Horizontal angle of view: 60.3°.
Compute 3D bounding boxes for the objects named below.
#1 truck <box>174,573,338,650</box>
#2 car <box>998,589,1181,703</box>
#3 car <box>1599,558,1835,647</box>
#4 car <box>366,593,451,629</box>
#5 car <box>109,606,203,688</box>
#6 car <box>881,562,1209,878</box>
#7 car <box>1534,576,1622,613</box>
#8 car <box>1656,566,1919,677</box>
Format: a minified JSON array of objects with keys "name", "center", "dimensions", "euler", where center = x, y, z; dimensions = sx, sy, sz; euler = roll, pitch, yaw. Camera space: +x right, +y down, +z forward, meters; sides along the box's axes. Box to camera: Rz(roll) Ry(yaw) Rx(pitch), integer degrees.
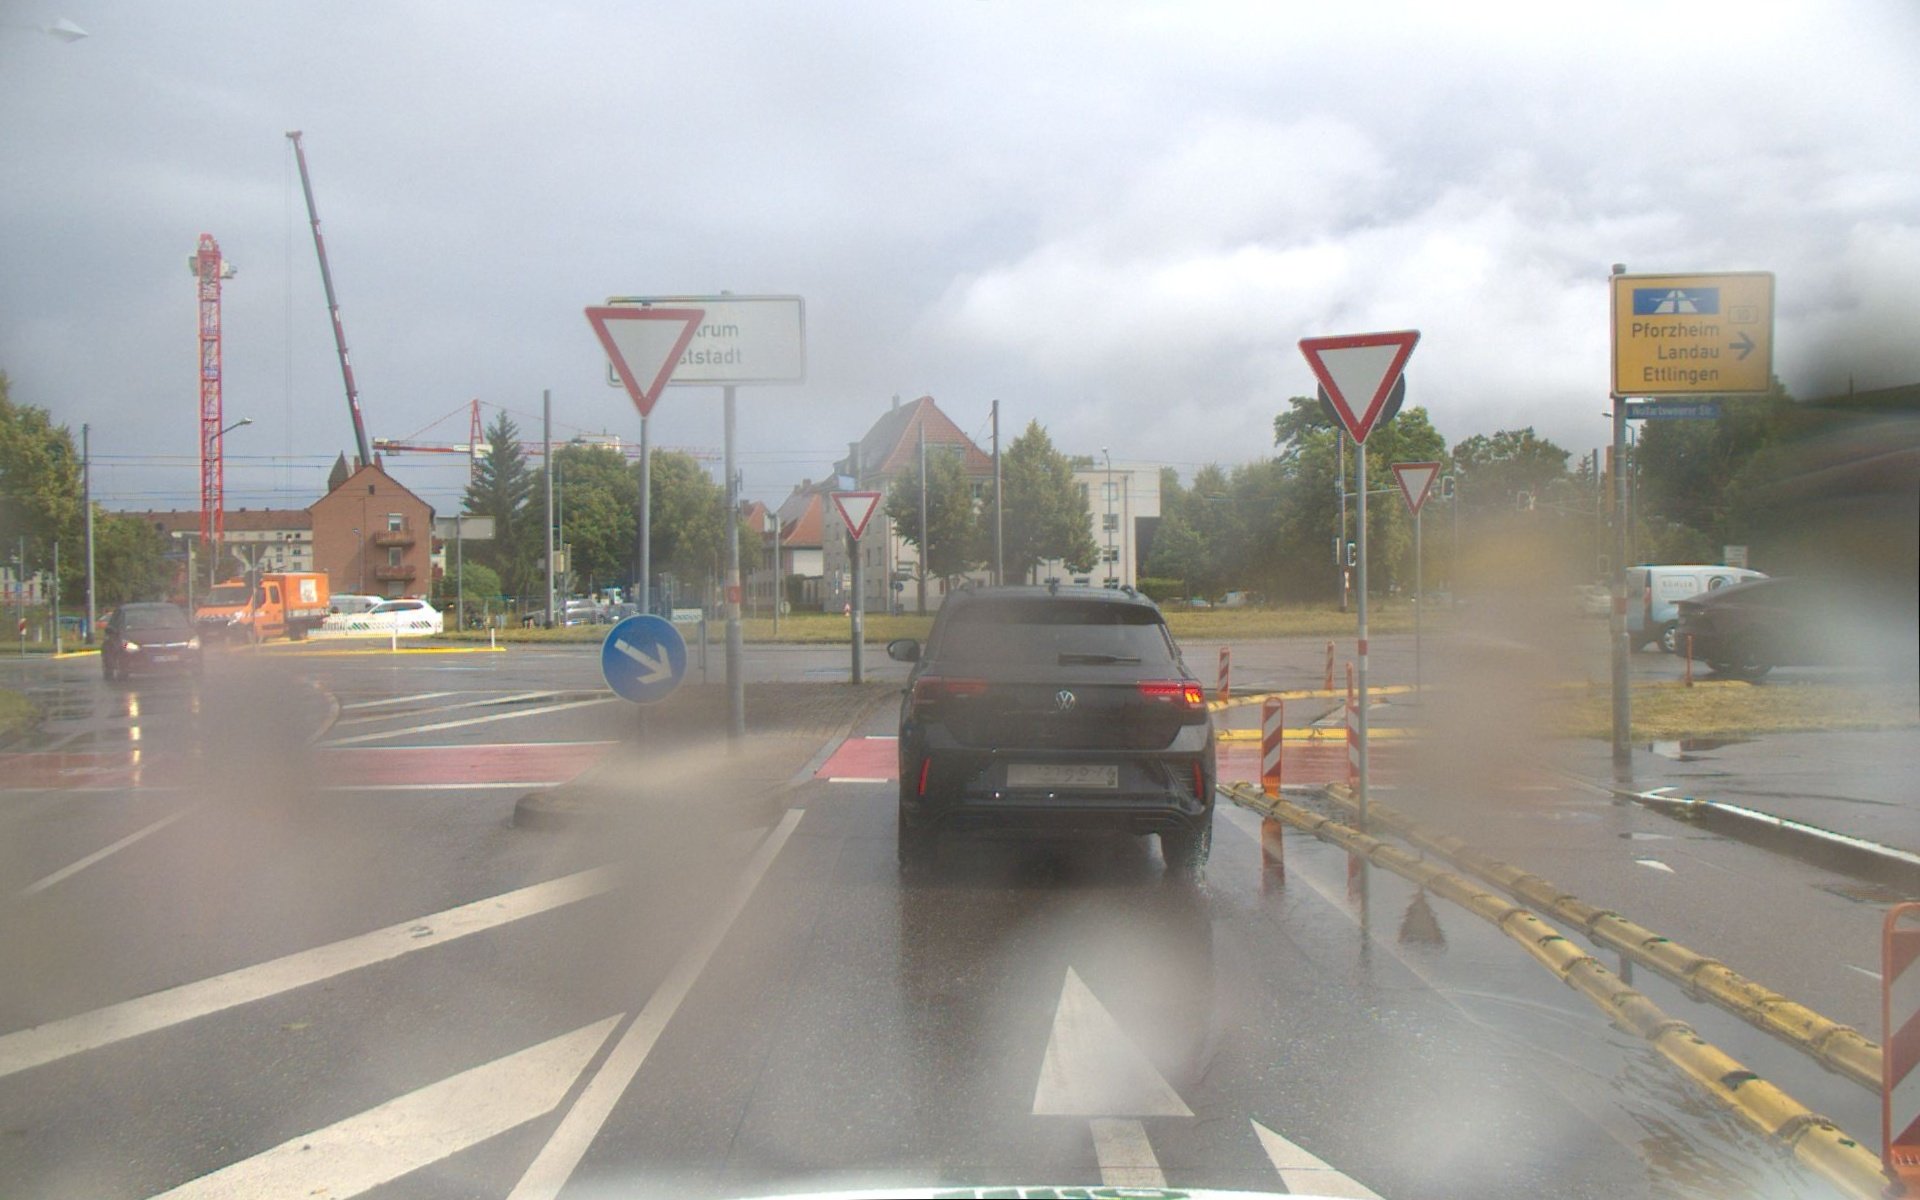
[{"name":"truck","center":[-25.960,0.393,61.397],"dimensions":[2.272,2.696,7.095],"euler":[0,0,8]},{"name":"car","center":[1.989,0.622,24.503],"dimensions":[1.700,1.540,3.603],"euler":[0,0,22]},{"name":"car","center":[16.377,0.052,35.895],"dimensions":[4.304,1.841,1.868],"euler":[0,0,-5]},{"name":"car","center":[-25.589,0.476,76.760],"dimensions":[3.462,1.612,1.549],"euler":[-1,0,-33]},{"name":"car","center":[-17.638,0.978,36.211],"dimensions":[1.549,1.677,3.615],"euler":[0,0,-31]},{"name":"car","center":[0.353,0.617,10.284],"dimensions":[1.674,1.601,3.680],"euler":[0,0,-3]},{"name":"car","center":[27.135,-0.232,72.746],"dimensions":[1.703,1.575,3.567],"euler":[0,0,-21]},{"name":"car","center":[14.247,0.350,27.914],"dimensions":[4.249,1.755,2.002],"euler":[-1,0,10]}]
